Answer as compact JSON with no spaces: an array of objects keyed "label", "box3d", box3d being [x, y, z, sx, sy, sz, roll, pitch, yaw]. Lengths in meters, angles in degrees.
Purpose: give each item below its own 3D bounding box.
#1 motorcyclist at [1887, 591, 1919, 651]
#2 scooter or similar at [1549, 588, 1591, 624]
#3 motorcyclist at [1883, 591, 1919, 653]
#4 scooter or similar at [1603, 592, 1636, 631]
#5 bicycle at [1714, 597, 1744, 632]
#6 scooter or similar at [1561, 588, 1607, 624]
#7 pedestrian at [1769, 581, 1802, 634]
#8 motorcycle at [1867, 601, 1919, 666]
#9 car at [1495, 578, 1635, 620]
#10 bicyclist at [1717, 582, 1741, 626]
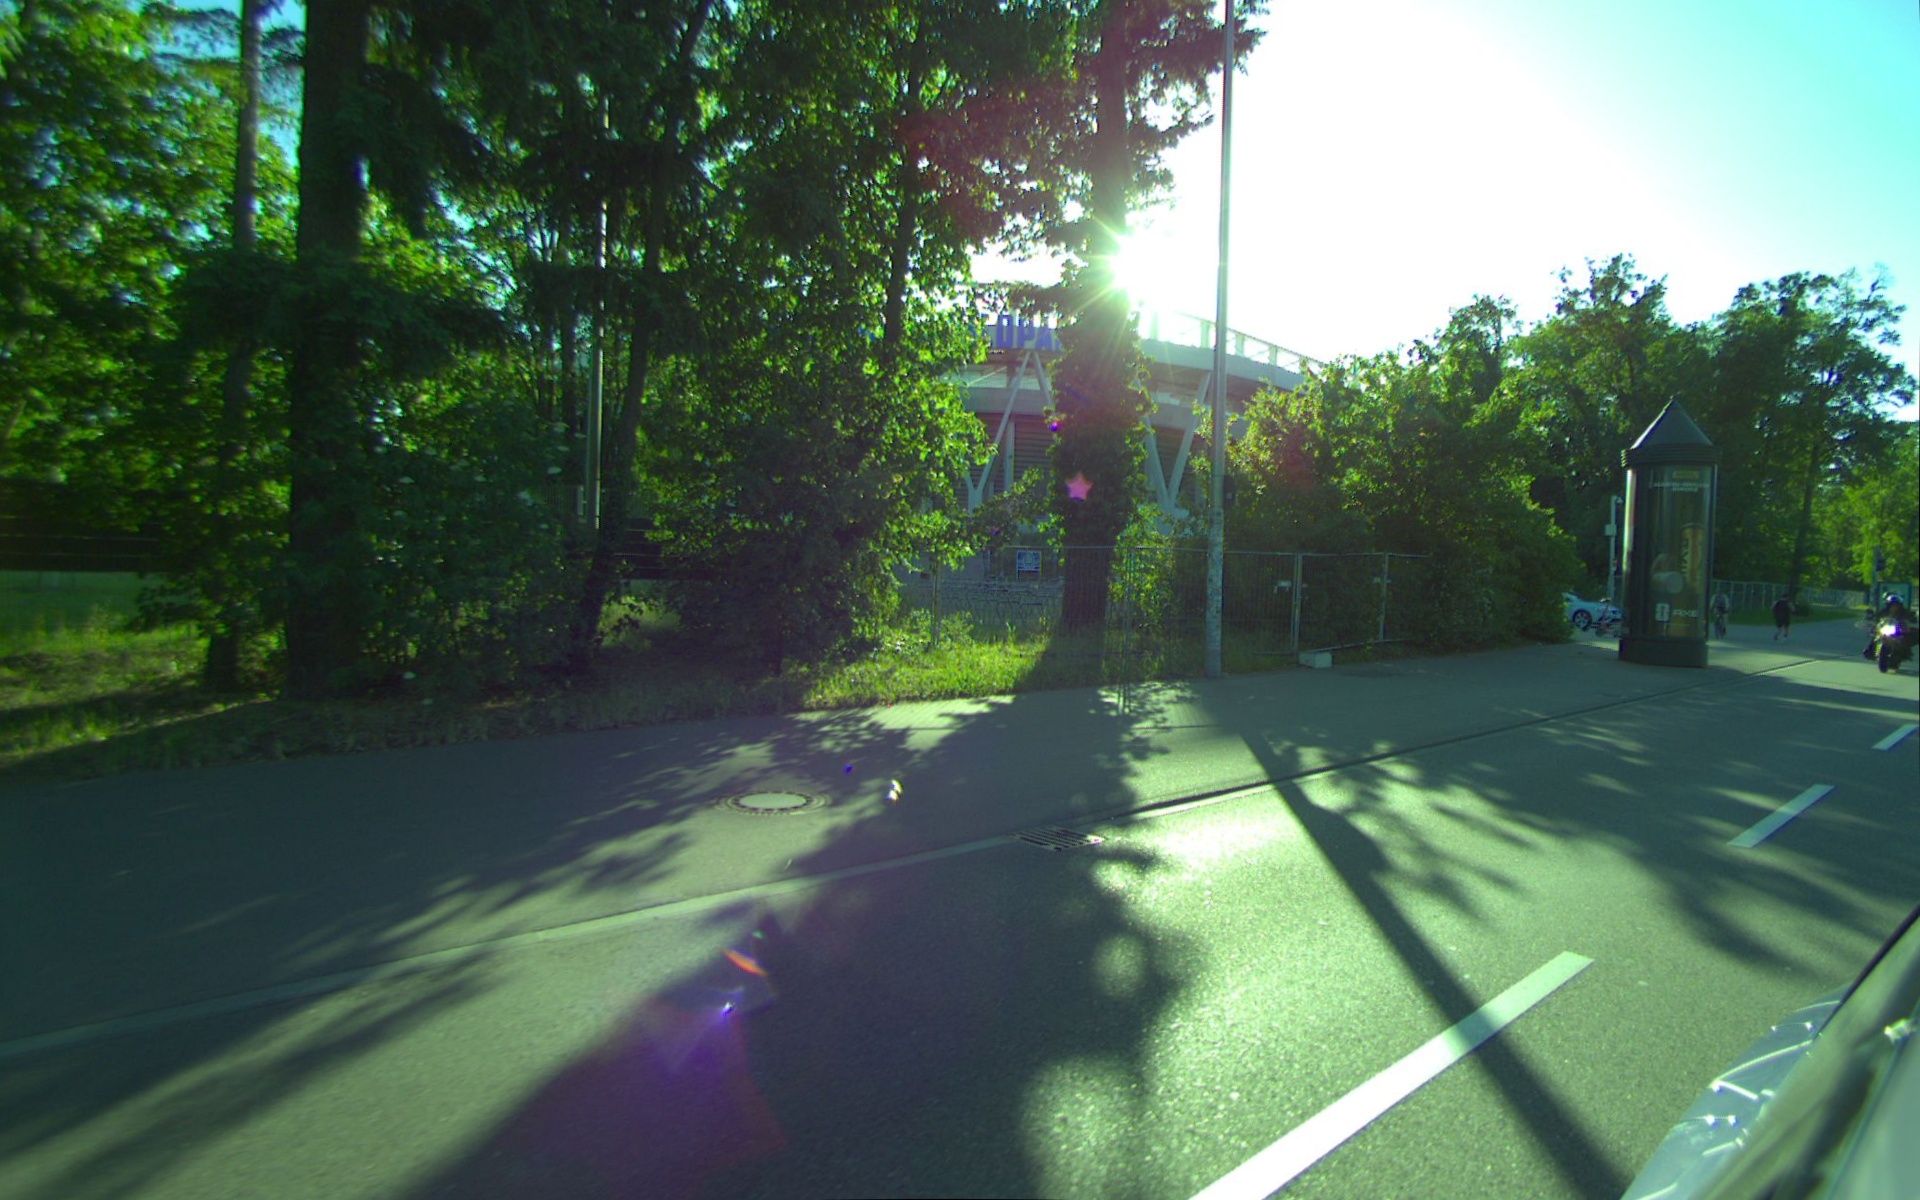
[{"label":"motorcyclist","box3d":[20.461,0.443,21.791,0.812,1.280,0.670,0,0,-43]},{"label":"scooter or similar","box3d":[21.113,0.199,35.053,0.386,1.181,1.252,0,3,-17]},{"label":"motorcyclist","box3d":[19.830,0.449,21.206,0.812,1.280,0.670,0,0,-43]},{"label":"scooter or similar","box3d":[20.528,0.349,31.485,1.381,1.185,0.282,1,2,-34]},{"label":"bicycle","box3d":[26.324,0.467,34.632,1.833,1.151,0.554,0,1,-44]},{"label":"scooter or similar","box3d":[21.699,0.207,35.222,0.386,1.160,1.271,-1,4,-34]},{"label":"pedestrian","box3d":[27.072,0.236,33.191,0.865,1.709,0.628,0,0,-33]},{"label":"motorcycle","box3d":[19.893,0.663,21.333,2.913,1.266,0.914,0,0,-44]},{"label":"car","box3d":[23.823,-0.067,40.025,1.785,1.395,4.390,0,3,-34]},{"label":"bicyclist","box3d":[26.309,0.123,34.602,0.846,1.487,0.521,0,0,-43]}]
